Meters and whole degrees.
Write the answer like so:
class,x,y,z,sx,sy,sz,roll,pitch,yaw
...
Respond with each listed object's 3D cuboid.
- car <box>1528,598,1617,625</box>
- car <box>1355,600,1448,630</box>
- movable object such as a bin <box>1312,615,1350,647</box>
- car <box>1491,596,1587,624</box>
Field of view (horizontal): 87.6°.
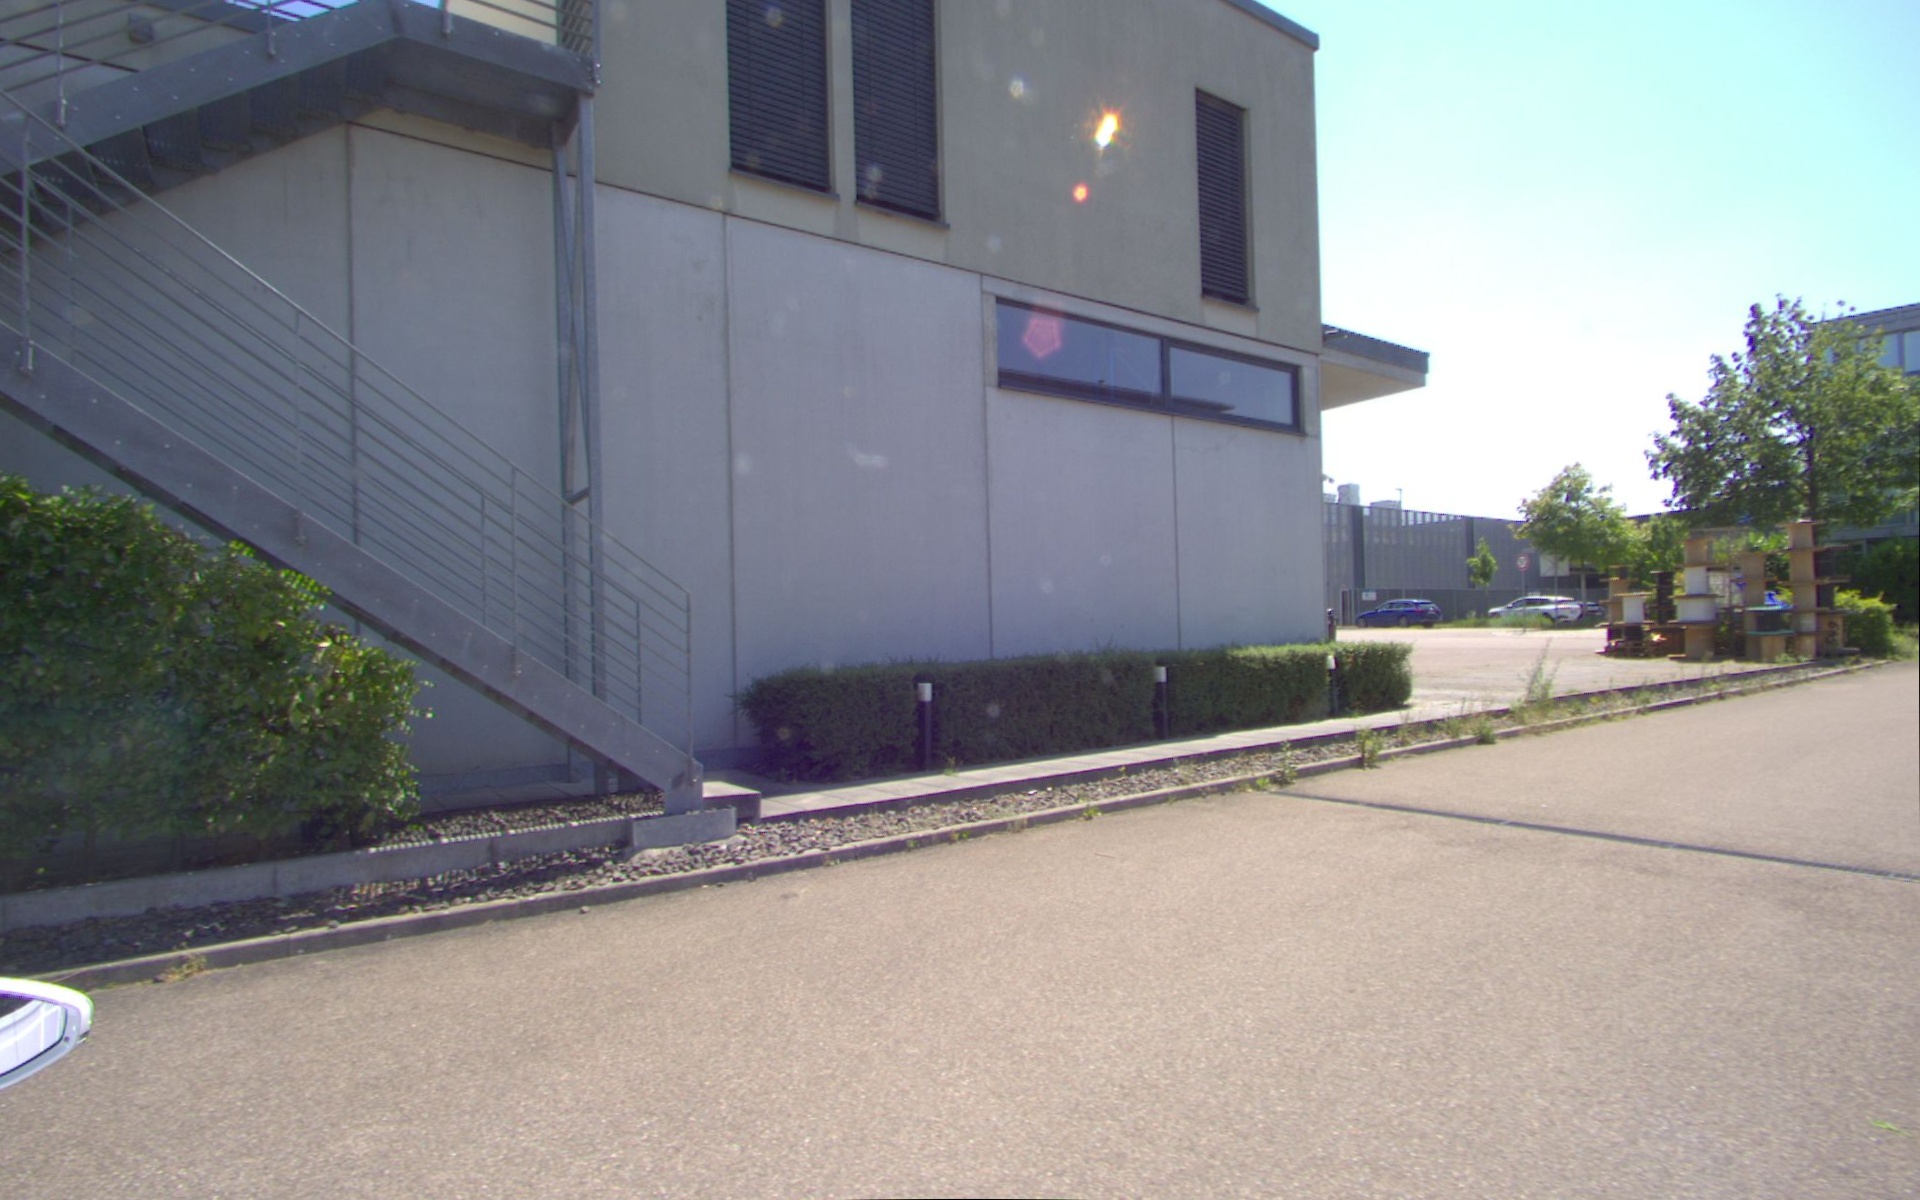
class,x,y,z,sx,sy,sz,roll,pitch,yaw
car,34.385,0.656,56.362,1.721,1.433,4.055,1,-2,-22
car,22.564,0.800,51.348,1.720,1.433,4.437,1,-2,-21
movable object such as a bin,11.700,0.965,31.589,0.800,0.993,0.812,0,-1,-36
car,31.632,0.603,54.877,1.721,1.433,4.435,1,-2,-22
